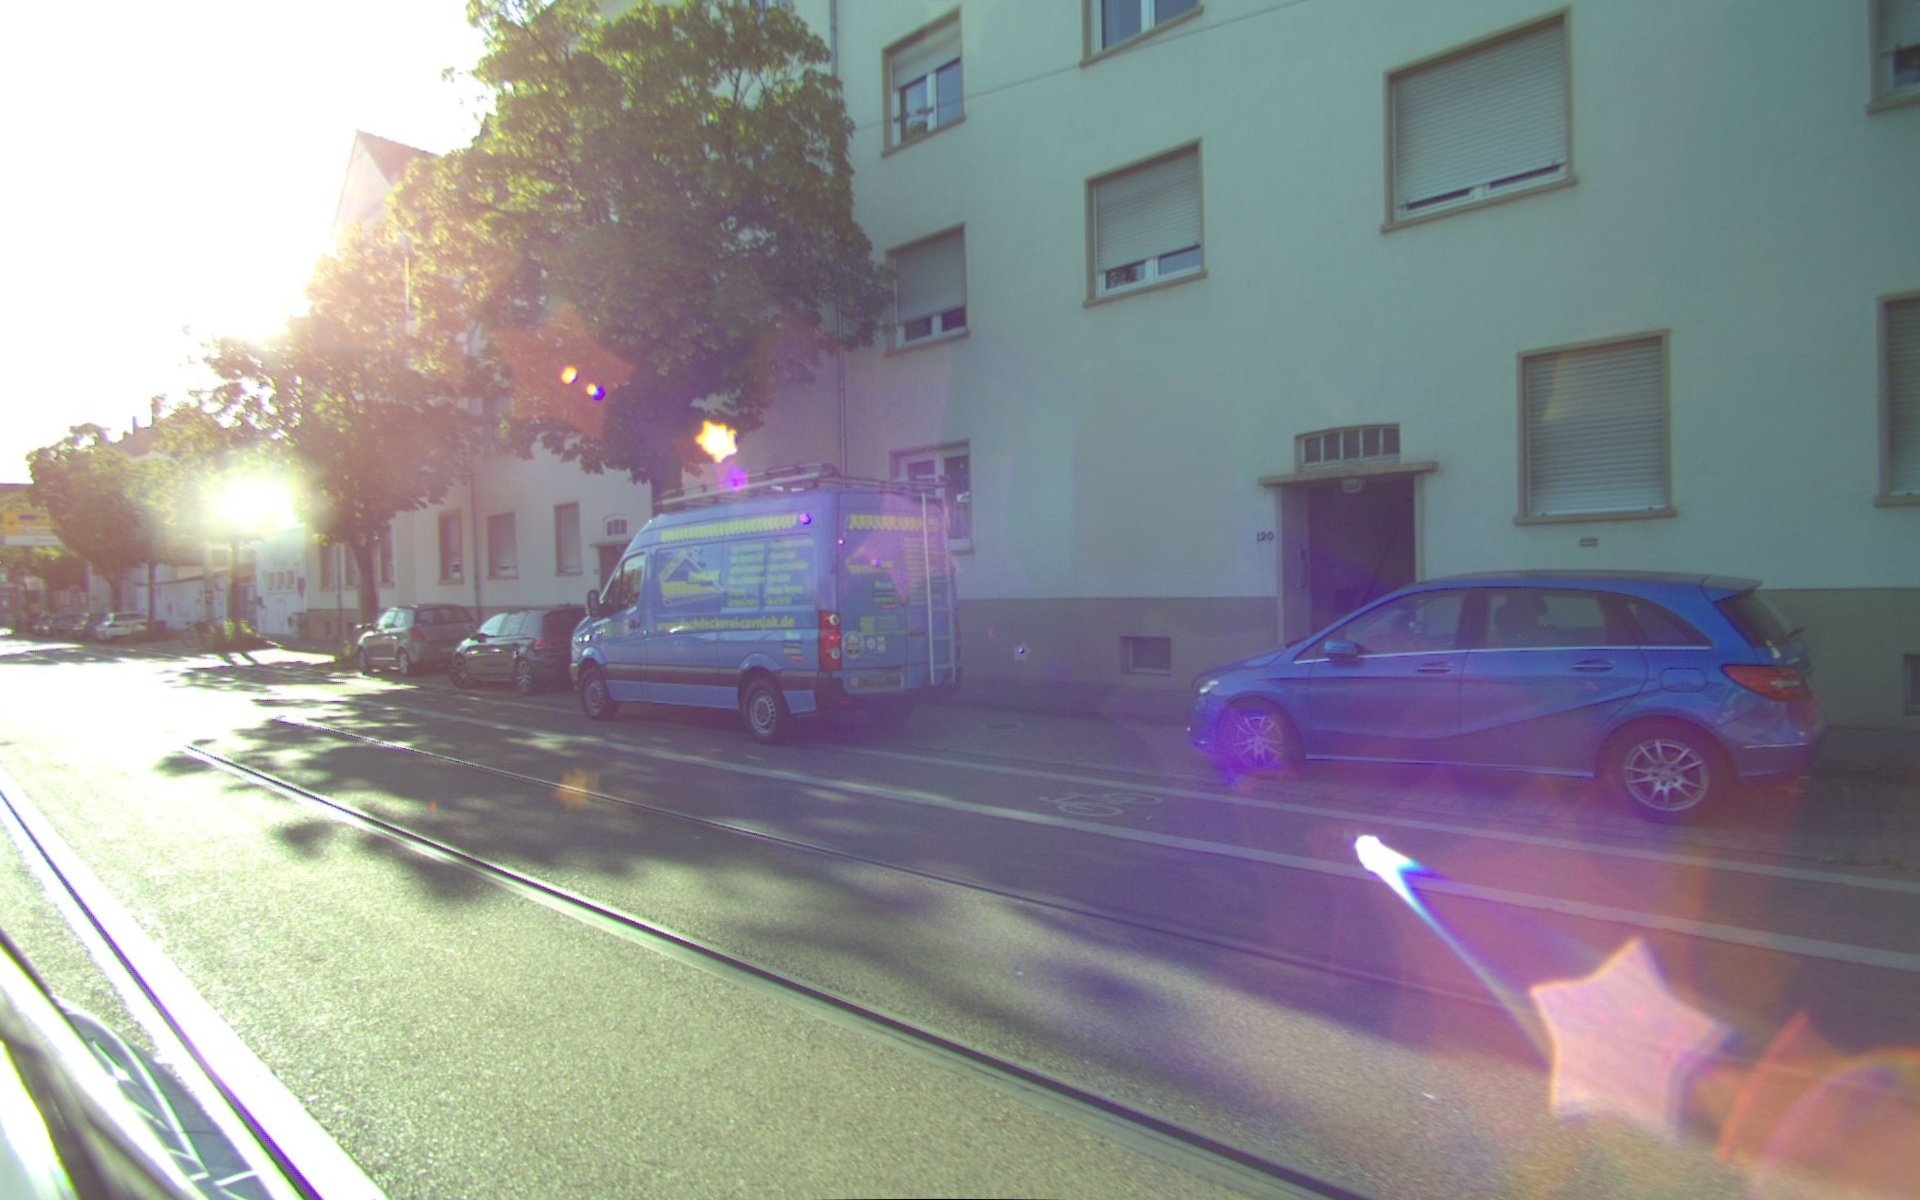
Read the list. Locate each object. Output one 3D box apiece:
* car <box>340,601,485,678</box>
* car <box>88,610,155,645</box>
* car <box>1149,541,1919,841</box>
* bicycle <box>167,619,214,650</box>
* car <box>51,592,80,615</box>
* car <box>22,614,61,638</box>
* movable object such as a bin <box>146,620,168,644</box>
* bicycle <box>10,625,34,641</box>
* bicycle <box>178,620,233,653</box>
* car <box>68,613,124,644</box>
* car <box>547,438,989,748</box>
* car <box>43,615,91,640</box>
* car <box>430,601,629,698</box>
[{"bbox_3d":[-12.376,0.821,22.778,4.000,1.502,1.633,-1,2,43],"label":"car"},{"bbox_3d":[-40.778,1.305,49.170,4.661,1.501,1.845,-1,2,42],"label":"car"},{"bbox_3d":[3.894,0.459,7.514,4.641,1.572,1.772,-1,2,42],"label":"car"},{"bbox_3d":[-29.542,1.304,38.873,0.658,1.047,1.790,-2,2,-10],"label":"bicycle"},{"bbox_3d":[-67.700,0.266,76.575,2.547,1.513,1.341,-4,-1,43],"label":"car"},{"bbox_3d":[-62.085,1.723,68.410,4.000,1.516,1.555,-1,2,43],"label":"car"},{"bbox_3d":[-35.368,1.424,44.579,0.702,0.966,0.576,-1,6,43],"label":"movable object such as a bin"},{"bbox_3d":[-75.406,2.633,81.337,0.409,1.178,1.326,-1,2,43],"label":"bicycle"},{"bbox_3d":[-26.926,1.286,36.151,0.524,1.047,1.989,-2,2,-3],"label":"bicycle"},{"bbox_3d":[-46.596,1.500,54.549,4.305,1.497,1.754,-1,2,43],"label":"car"},{"bbox_3d":[-2.591,-0.084,12.108,6.033,2.847,1.995,-1,2,44],"label":"car"},{"bbox_3d":[-57.392,1.766,65.048,4.293,1.439,1.853,-1,2,43],"label":"car"},{"bbox_3d":[-7.644,0.786,17.771,4.190,1.435,1.633,-1,2,43],"label":"car"}]
